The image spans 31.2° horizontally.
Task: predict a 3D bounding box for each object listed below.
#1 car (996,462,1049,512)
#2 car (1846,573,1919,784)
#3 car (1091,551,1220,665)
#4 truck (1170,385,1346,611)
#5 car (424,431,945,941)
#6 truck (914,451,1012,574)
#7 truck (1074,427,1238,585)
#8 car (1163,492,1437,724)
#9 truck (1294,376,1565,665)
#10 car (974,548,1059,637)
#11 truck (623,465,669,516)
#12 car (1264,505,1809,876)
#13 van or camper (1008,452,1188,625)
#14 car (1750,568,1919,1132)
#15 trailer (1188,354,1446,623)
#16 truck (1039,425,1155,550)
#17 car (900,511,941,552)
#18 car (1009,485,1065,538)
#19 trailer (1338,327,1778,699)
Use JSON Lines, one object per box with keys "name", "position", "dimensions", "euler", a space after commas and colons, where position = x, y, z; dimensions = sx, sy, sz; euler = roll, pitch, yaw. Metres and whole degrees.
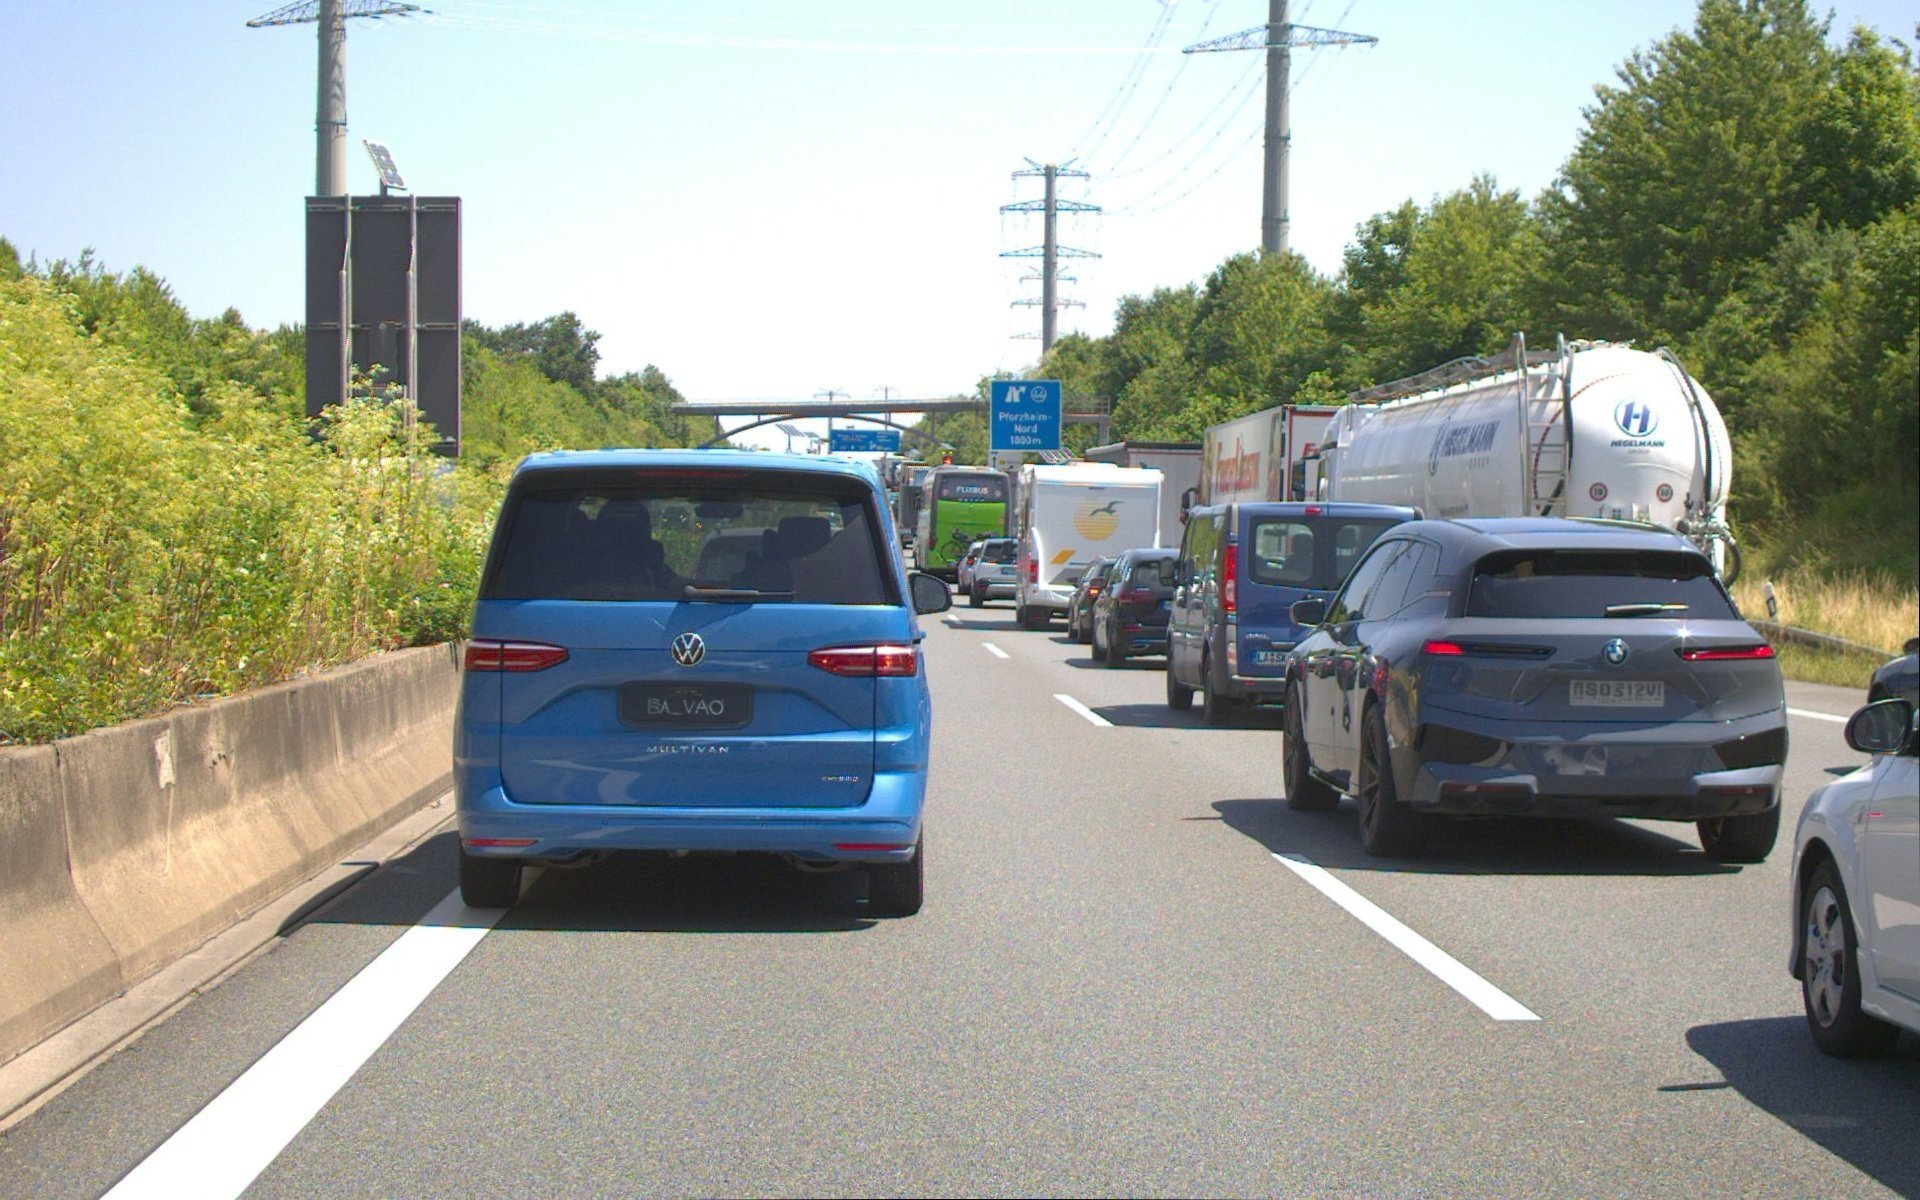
{"name": "car", "position": [2.619, -4.770, 145.353], "dimensions": [1.993, 2.007, 4.000], "euler": [1, 1, -2]}
{"name": "car", "position": [7.256, 0.518, 22.787], "dimensions": [1.641, 1.412, 3.989], "euler": [-1, 0, -1]}
{"name": "car", "position": [2.524, 0.088, 44.971], "dimensions": [1.360, 1.415, 3.885], "euler": [-1, 0, -1]}
{"name": "truck", "position": [6.034, -2.054, 70.454], "dimensions": [2.912, 4.453, 5.143], "euler": [0, 1, -3]}
{"name": "car", "position": [-1.116, 0.289, 15.082], "dimensions": [1.920, 1.880, 4.001], "euler": [2, 1, -2]}
{"name": "truck", "position": [0.026, -2.764, 111.511], "dimensions": [2.895, 3.753, 10.141], "euler": [1, 1, -1]}
{"name": "truck", "position": [4.960, -2.340, 90.331], "dimensions": [3.006, 3.753, 15.714], "euler": [1, 1, -1]}
{"name": "car", "position": [2.966, 0.060, 30.868], "dimensions": [1.923, 1.919, 4.236], "euler": [-1, 0, -1]}
{"name": "truck", "position": [6.499, -1.096, 48.383], "dimensions": [2.792, 3.823, 5.573], "euler": [0, 1, -3]}
{"name": "car", "position": [1.282, -0.172, 79.699], "dimensions": [1.836, 1.991, 4.000], "euler": [0, 0, -1]}
{"name": "truck", "position": [-23.155, -8.060, 253.560], "dimensions": [3.071, 3.697, 5.464], "euler": [0, 1, -3]}
{"name": "car", "position": [2.880, 0.413, 18.250], "dimensions": [1.999, 1.709, 4.625], "euler": [0, 0, -1]}
{"name": "van or camper", "position": [2.496, -1.118, 64.266], "dimensions": [2.957, 3.011, 7.103], "euler": [1, 1, -1]}
{"name": "car", "position": [3.437, 0.661, 8.794], "dimensions": [1.817, 1.480, 4.000], "euler": [0, 0, -1]}
{"name": "trailer", "position": [6.350, -1.940, 63.279], "dimensions": [2.912, 4.453, 12.156], "euler": [0, 1, -3]}
{"name": "truck", "position": [4.386, -3.583, 112.889], "dimensions": [2.895, 3.753, 13.346], "euler": [1, 1, -1]}
{"name": "car", "position": [-2.062, -3.580, 180.602], "dimensions": [1.993, 2.118, 4.000], "euler": [1, 1, -3]}
{"name": "car", "position": [3.045, -3.492, 136.565], "dimensions": [1.993, 2.007, 4.000], "euler": [1, 1, -2]}
{"name": "trailer", "position": [6.823, -0.985, 41.297], "dimensions": [2.761, 3.831, 11.488], "euler": [0, 1, -3]}
